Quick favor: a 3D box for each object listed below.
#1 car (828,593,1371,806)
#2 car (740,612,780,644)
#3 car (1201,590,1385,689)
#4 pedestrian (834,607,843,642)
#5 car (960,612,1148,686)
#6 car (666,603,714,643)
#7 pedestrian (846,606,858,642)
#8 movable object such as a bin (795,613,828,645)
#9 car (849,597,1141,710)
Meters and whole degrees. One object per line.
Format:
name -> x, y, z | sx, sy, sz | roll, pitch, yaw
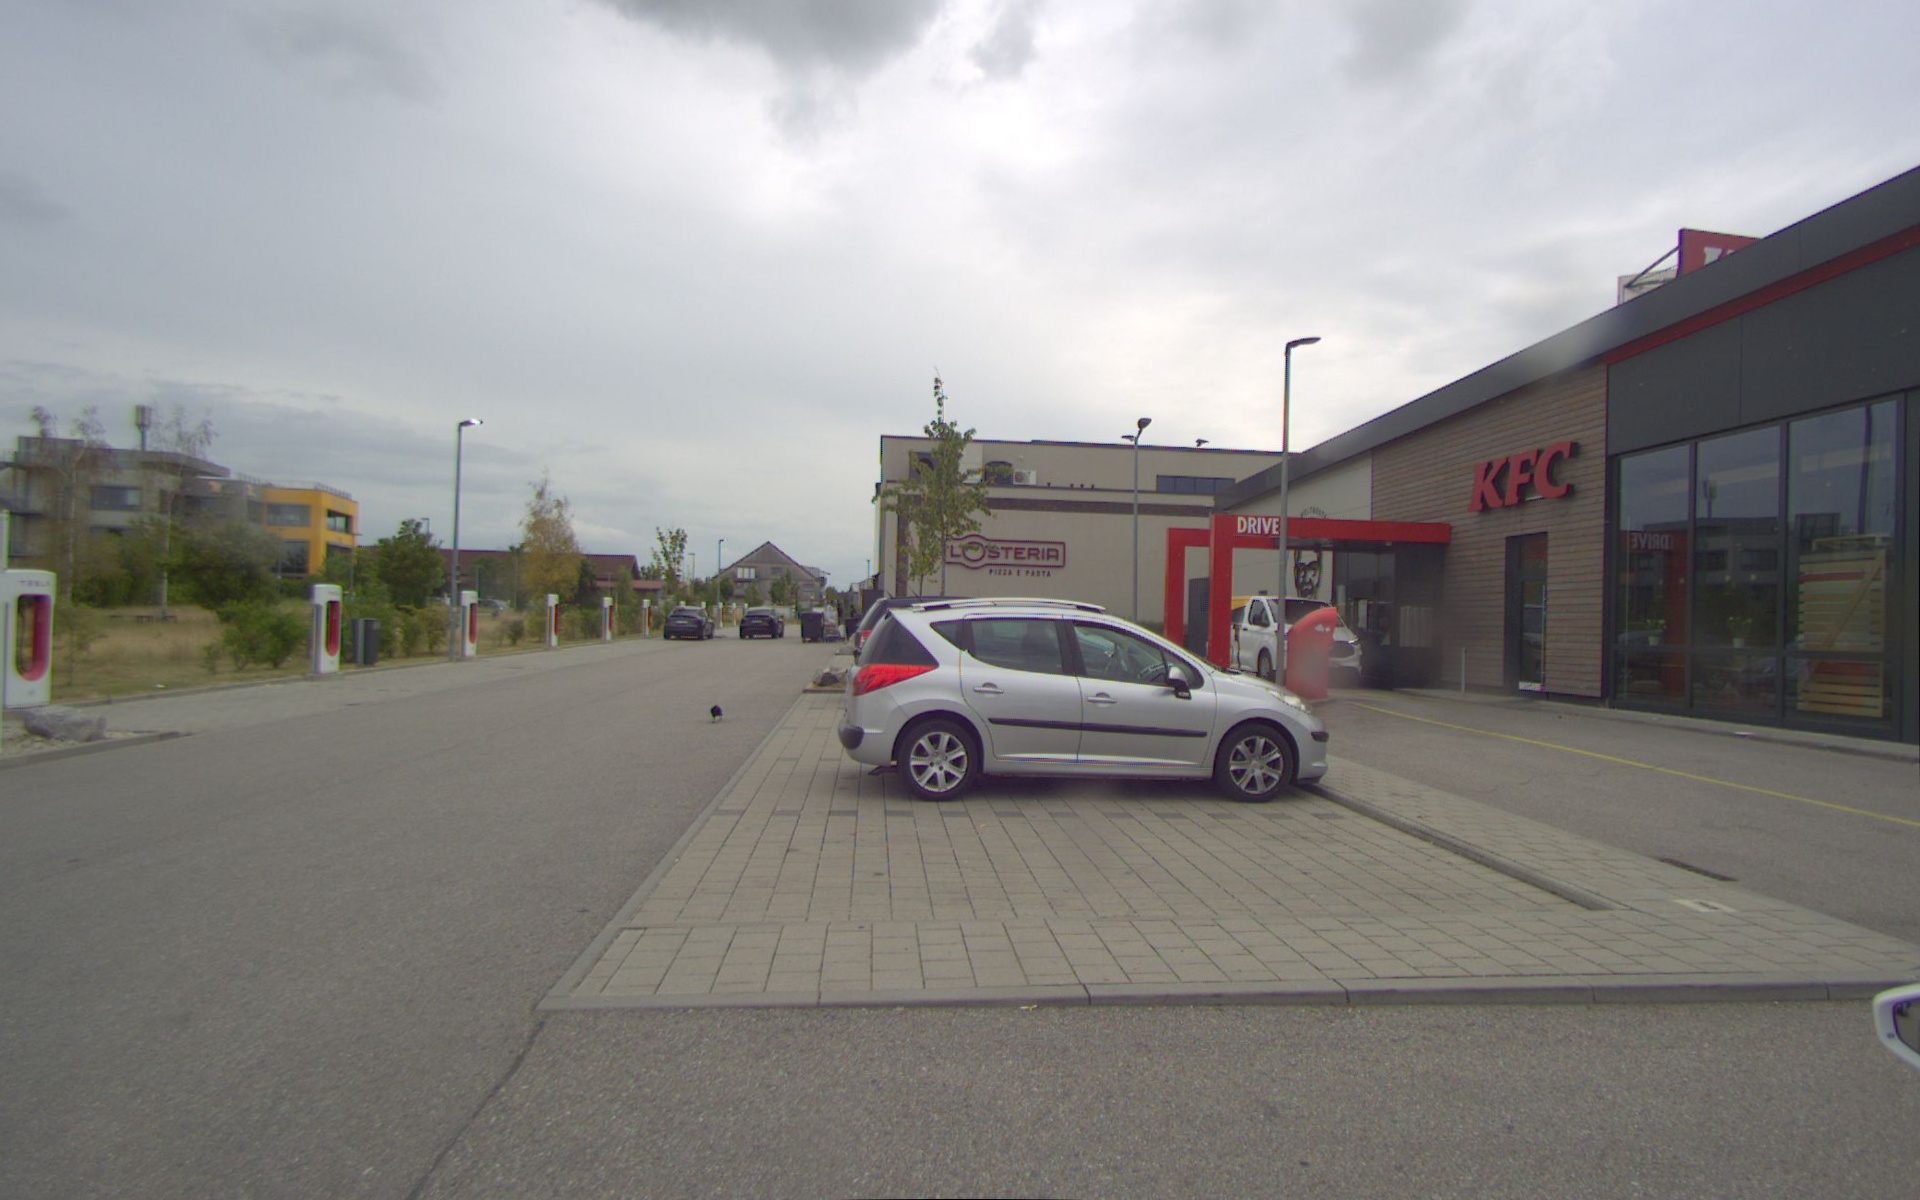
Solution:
car -> 1.017, 0.759, 8.240 | 4.090, 1.525, 1.627 | 1, -1, -6
car -> -10.400, 1.447, 52.435 | 1.964, 1.617, 3.993 | 0, -1, -10
car -> 7.405, 0.864, 23.020 | 2.237, 1.957, 5.121 | 1, -1, -4
pedestrian -> -5.775, 1.157, 47.749 | 0.423, 1.666, 0.389 | 0, -1, -10
car -> 1.837, 0.954, 20.221 | 3.612, 1.413, 1.432 | 0, -1, -3
car -> -13.297, 1.150, 49.665 | 1.803, 1.795, 3.993 | 3, -2, -10
pedestrian -> -5.184, 1.141, 48.108 | 0.564, 1.706, 0.389 | 0, -1, -11
movable object such as a bin -> -6.574, 1.290, 44.443 | 1.342, 1.368, 1.868 | 0, -1, -12
car -> 0.483, 0.828, 15.841 | 4.402, 1.638, 1.584 | 1, -1, -6
